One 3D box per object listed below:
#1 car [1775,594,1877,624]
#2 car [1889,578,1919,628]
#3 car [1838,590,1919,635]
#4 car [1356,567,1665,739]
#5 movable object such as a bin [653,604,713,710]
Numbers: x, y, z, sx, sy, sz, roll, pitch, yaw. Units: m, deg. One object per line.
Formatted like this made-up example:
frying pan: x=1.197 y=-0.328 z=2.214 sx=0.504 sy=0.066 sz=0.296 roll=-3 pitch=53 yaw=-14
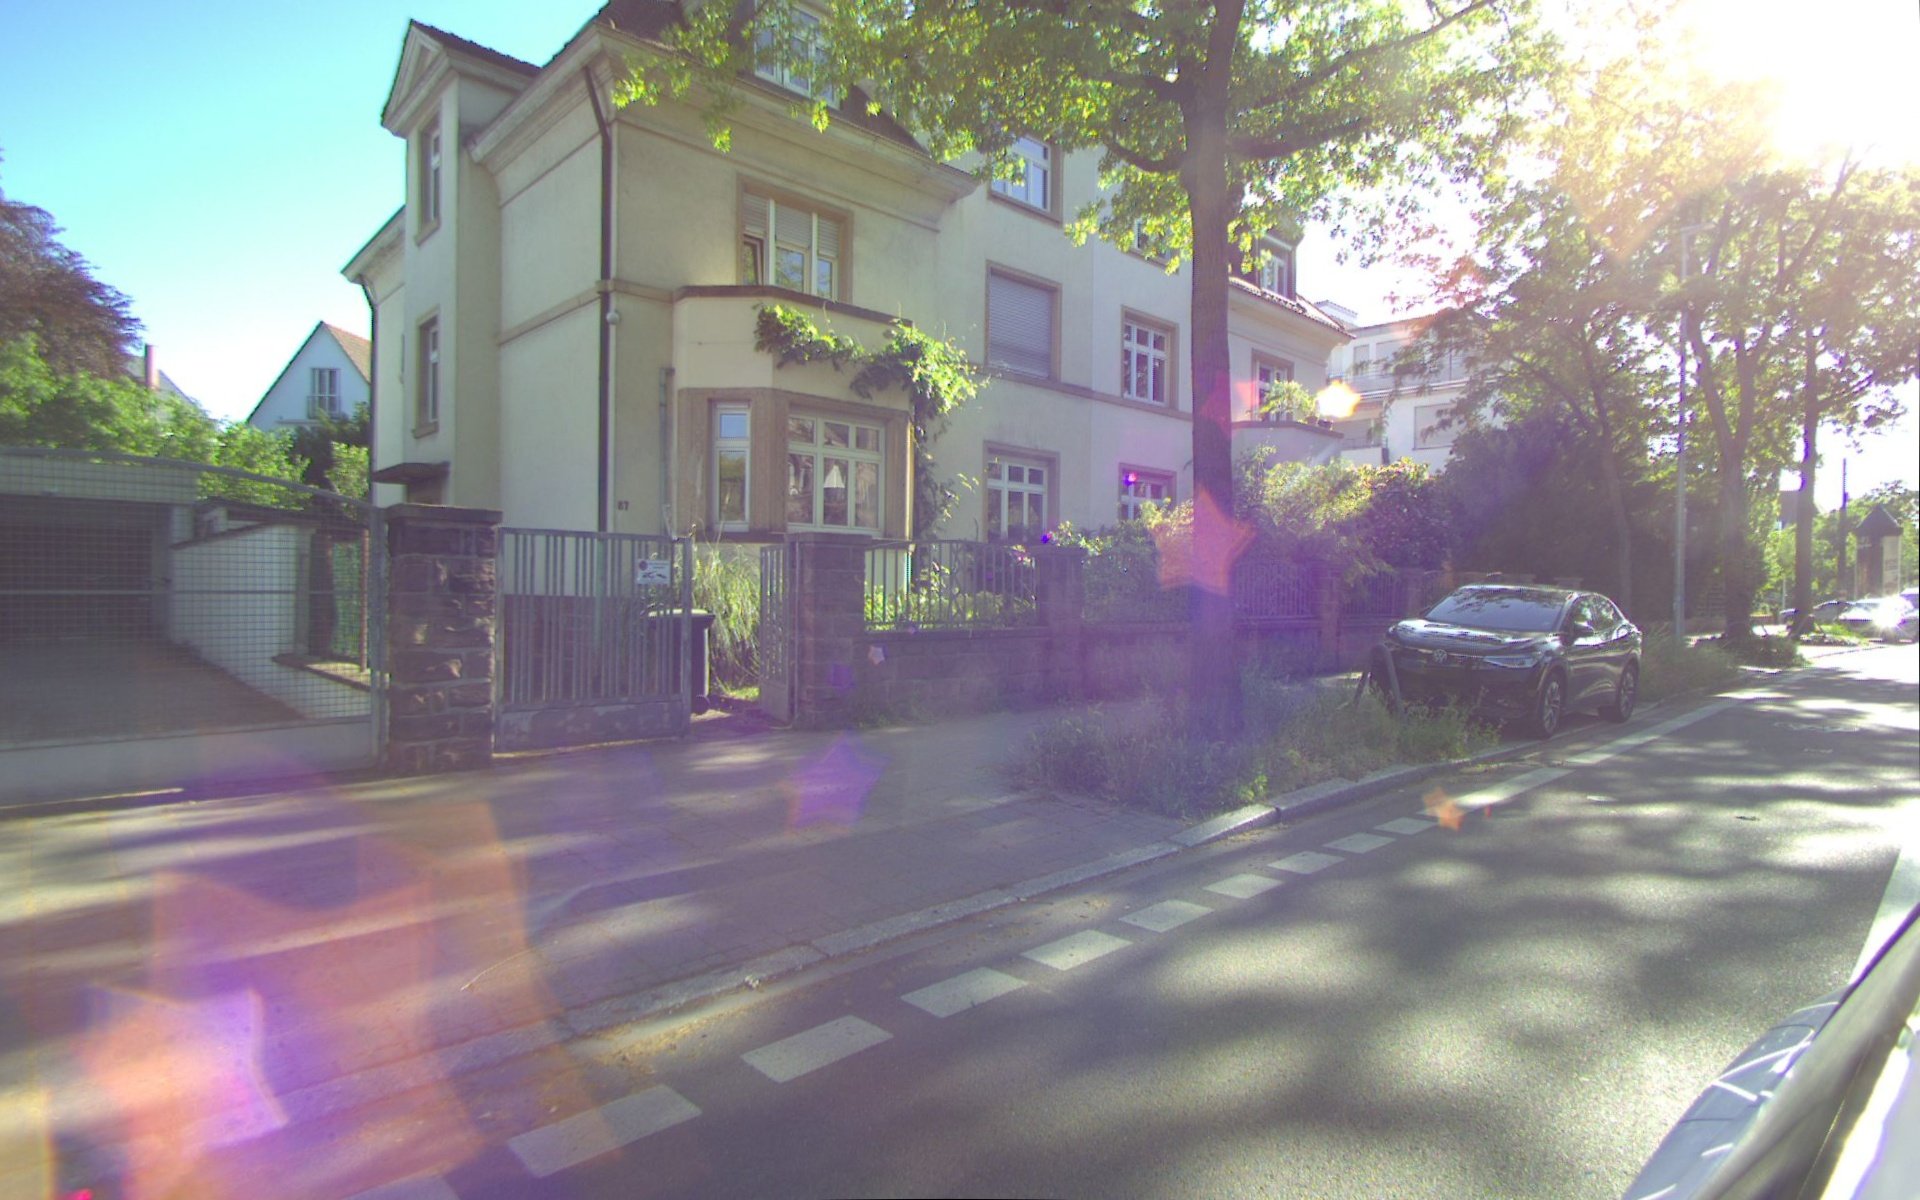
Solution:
car: x=46.059 y=0.451 z=53.853 sx=1.784 sy=1.459 sz=3.990 roll=0 pitch=1 yaw=-44
car: x=36.666 y=0.124 z=37.868 sx=4.580 sy=1.808 sz=1.903 roll=0 pitch=1 yaw=-35
car: x=31.506 y=0.377 z=34.286 sx=4.181 sy=1.427 sz=1.901 roll=0 pitch=1 yaw=-38
car: x=6.707 y=0.495 z=12.145 sx=4.186 sy=1.619 sz=1.917 roll=0 pitch=4 yaw=-42
movable object such as a bin: x=-2.925 y=0.585 z=10.679 sx=0.551 sy=1.062 sz=0.676 roll=0 pitch=0 yaw=-20
